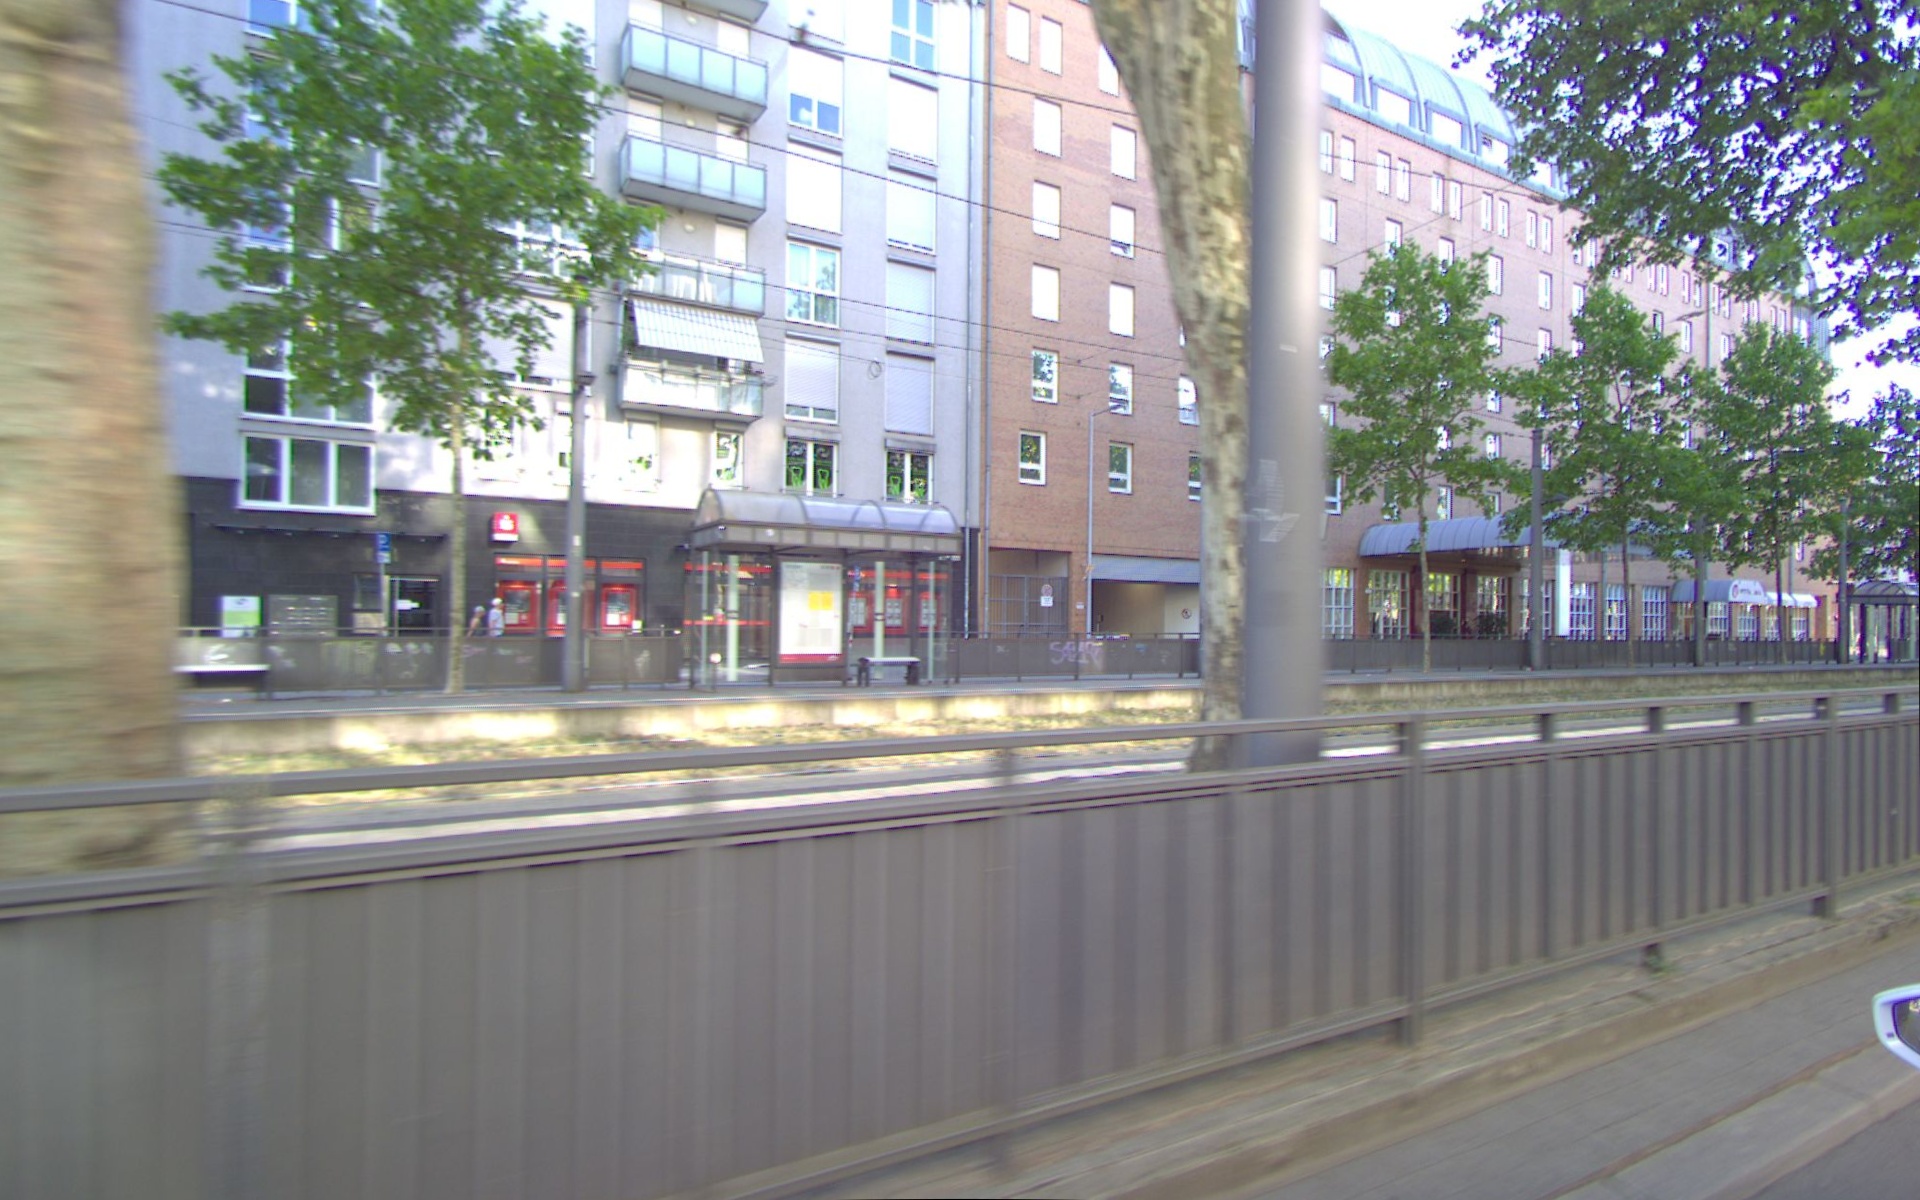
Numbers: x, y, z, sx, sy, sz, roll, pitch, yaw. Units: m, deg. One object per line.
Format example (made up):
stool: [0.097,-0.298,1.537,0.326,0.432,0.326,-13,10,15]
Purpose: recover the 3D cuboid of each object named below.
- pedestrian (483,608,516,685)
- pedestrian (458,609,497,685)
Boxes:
pedestrian: [-10.938,1.096,23.851,0.621,1.794,0.499,2,0,-30]
pedestrian: [-11.640,1.136,24.212,0.775,1.794,0.499,2,0,-30]
